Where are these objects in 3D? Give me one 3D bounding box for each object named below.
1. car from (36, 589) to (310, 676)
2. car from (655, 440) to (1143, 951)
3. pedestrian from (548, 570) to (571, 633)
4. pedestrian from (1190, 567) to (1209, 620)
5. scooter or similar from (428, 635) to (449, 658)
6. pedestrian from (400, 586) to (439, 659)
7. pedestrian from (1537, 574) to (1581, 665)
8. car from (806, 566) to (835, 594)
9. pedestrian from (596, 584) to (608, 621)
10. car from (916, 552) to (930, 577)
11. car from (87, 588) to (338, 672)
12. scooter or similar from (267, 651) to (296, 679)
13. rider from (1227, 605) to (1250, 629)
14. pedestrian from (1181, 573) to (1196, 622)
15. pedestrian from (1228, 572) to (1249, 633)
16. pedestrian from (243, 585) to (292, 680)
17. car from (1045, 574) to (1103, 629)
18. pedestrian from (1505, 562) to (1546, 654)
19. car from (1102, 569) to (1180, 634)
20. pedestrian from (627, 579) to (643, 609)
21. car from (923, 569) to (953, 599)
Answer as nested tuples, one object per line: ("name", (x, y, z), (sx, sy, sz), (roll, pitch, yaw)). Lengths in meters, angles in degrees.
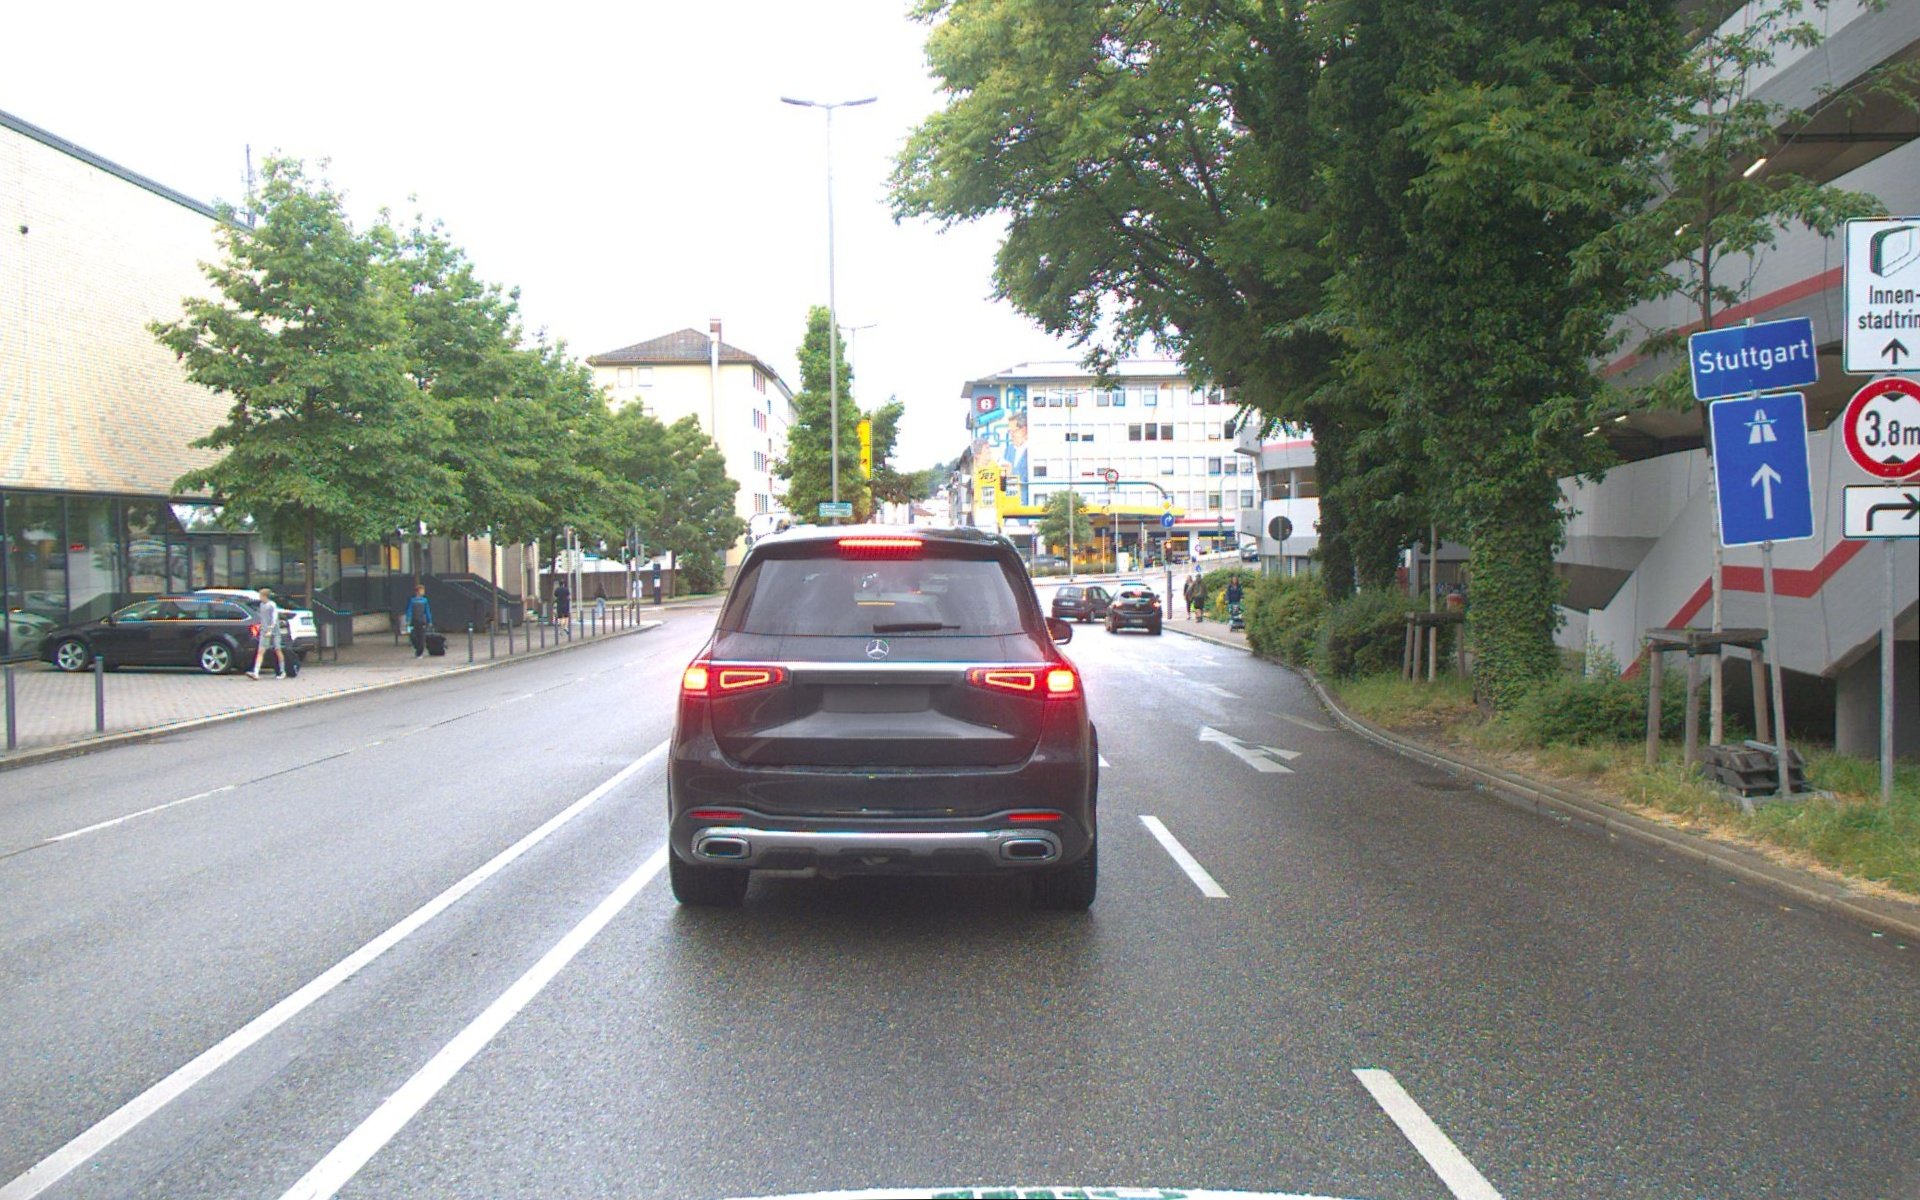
("car", (-15.246, 0.612, 32.269), (4.383, 1.615, 1.997), (0, 0, -8))
("car", (-0.315, 0.405, 8.748), (1.953, 2.049, 3.998), (1, 0, -2))
("pedestrian", (-13.250, 0.052, 54.770), (0.576, 2.049, 0.749), (1, -1, -3))
("pedestrian", (9.110, -0.246, 62.947), (0.607, 1.969, 0.610), (1, -1, 0))
("scooter or similar", (-12.861, 1.152, 40.799), (0.352, 0.545, 0.499), (1, -2, -2))
("pedestrian", (-13.181, 0.558, 40.330), (0.675, 1.756, 0.753), (1, -3, -2))
("pedestrian", (10.258, 0.334, 28.339), (0.569, 1.528, 0.504), (1, -1, 4))
("car", (-10.262, -1.442, 121.933), (1.954, 1.908, 5.139), (1, 0, -3))
("pedestrian", (-16.587, 0.111, 76.677), (0.391, 1.673, 0.567), (1, -1, -1))
("car", (-5.205, -4.990, 232.543), (1.953, 2.036, 4.023), (1, 24, -2))
("car", (-15.463, 0.601, 34.416), (4.331, 1.601, 1.998), (1, 2, -6))
("scooter or similar", (-12.651, 1.212, 30.848), (0.274, 0.509, 0.616), (1, 0, 0))
("rider", (8.902, 0.557, 52.870), (0.679, 0.753, 0.633), (1, -1, 7))
("pedestrian", (9.149, -0.115, 66.288), (0.509, 1.944, 0.556), (1, -1, -1))
("pedestrian", (9.028, 0.070, 53.578), (0.648, 1.951, 0.729), (1, -1, 9))
("pedestrian", (-12.745, 0.590, 30.445), (0.662, 1.727, 0.479), (1, 0, -1))
("car", (4.440, 0.058, 64.816), (1.953, 2.049, 3.999), (1, 0, -1))
("pedestrian", (9.691, 0.134, 28.340), (0.539, 1.559, 0.488), (1, -1, 5))
("car", (5.975, 0.025, 54.958), (1.954, 2.049, 3.998), (0, 1, -3))
("pedestrian", (-16.669, -0.313, 84.764), (0.697, 1.487, 0.598), (1, -1, -2))
("car", (-1.590, -1.090, 117.247), (1.954, 2.049, 3.997), (1, 0, -4))
